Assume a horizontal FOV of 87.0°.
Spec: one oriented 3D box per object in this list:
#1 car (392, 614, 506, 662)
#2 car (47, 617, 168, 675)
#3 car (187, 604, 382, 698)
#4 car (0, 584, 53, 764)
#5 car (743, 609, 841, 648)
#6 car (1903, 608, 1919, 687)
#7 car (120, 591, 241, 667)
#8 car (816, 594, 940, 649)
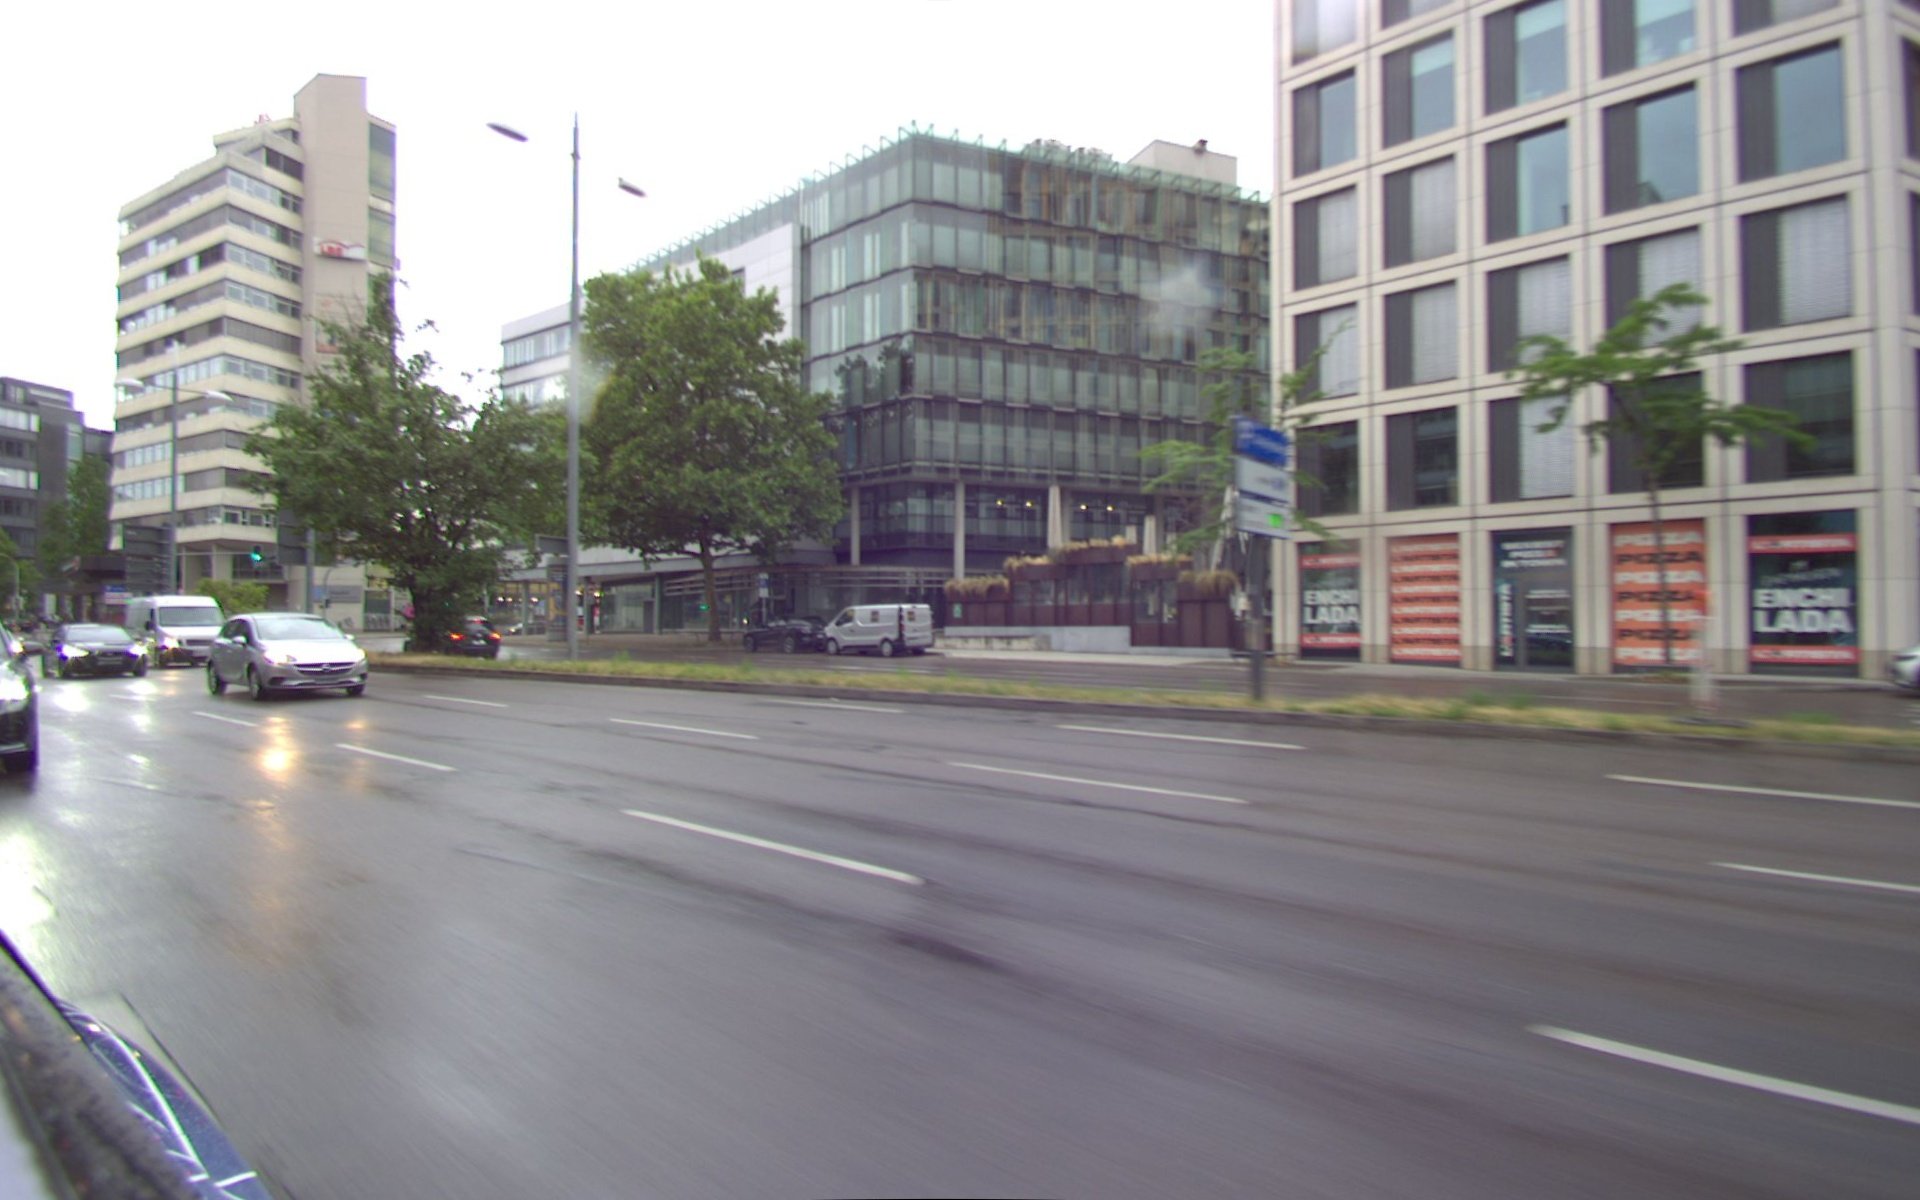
[{"bbox_3d":[-19.073,1.365,37.705,4.866,1.644,1.809,0,0,36],"label":"car"},{"bbox_3d":[-23.452,1.198,27.790,4.239,1.412,1.880,0,0,41],"label":"car"},{"bbox_3d":[-12.217,0.826,18.219,4.122,1.490,1.753,0,0,38],"label":"car"},{"bbox_3d":[-10.306,0.647,10.070,1.775,1.564,4.395,0,0,-40],"label":"car"},{"bbox_3d":[-7.141,1.163,42.700,4.284,1.540,1.779,0,0,41],"label":"car"},{"bbox_3d":[19.554,0.876,17.714,4.372,1.435,1.679,-1,-2,42],"label":"car"},{"bbox_3d":[-26.782,0.915,34.697,5.717,2.403,2.230,0,0,41],"label":"car"},{"bbox_3d":[-3.252,0.776,39.369,4.914,2.029,1.973,0,0,41],"label":"car"}]
